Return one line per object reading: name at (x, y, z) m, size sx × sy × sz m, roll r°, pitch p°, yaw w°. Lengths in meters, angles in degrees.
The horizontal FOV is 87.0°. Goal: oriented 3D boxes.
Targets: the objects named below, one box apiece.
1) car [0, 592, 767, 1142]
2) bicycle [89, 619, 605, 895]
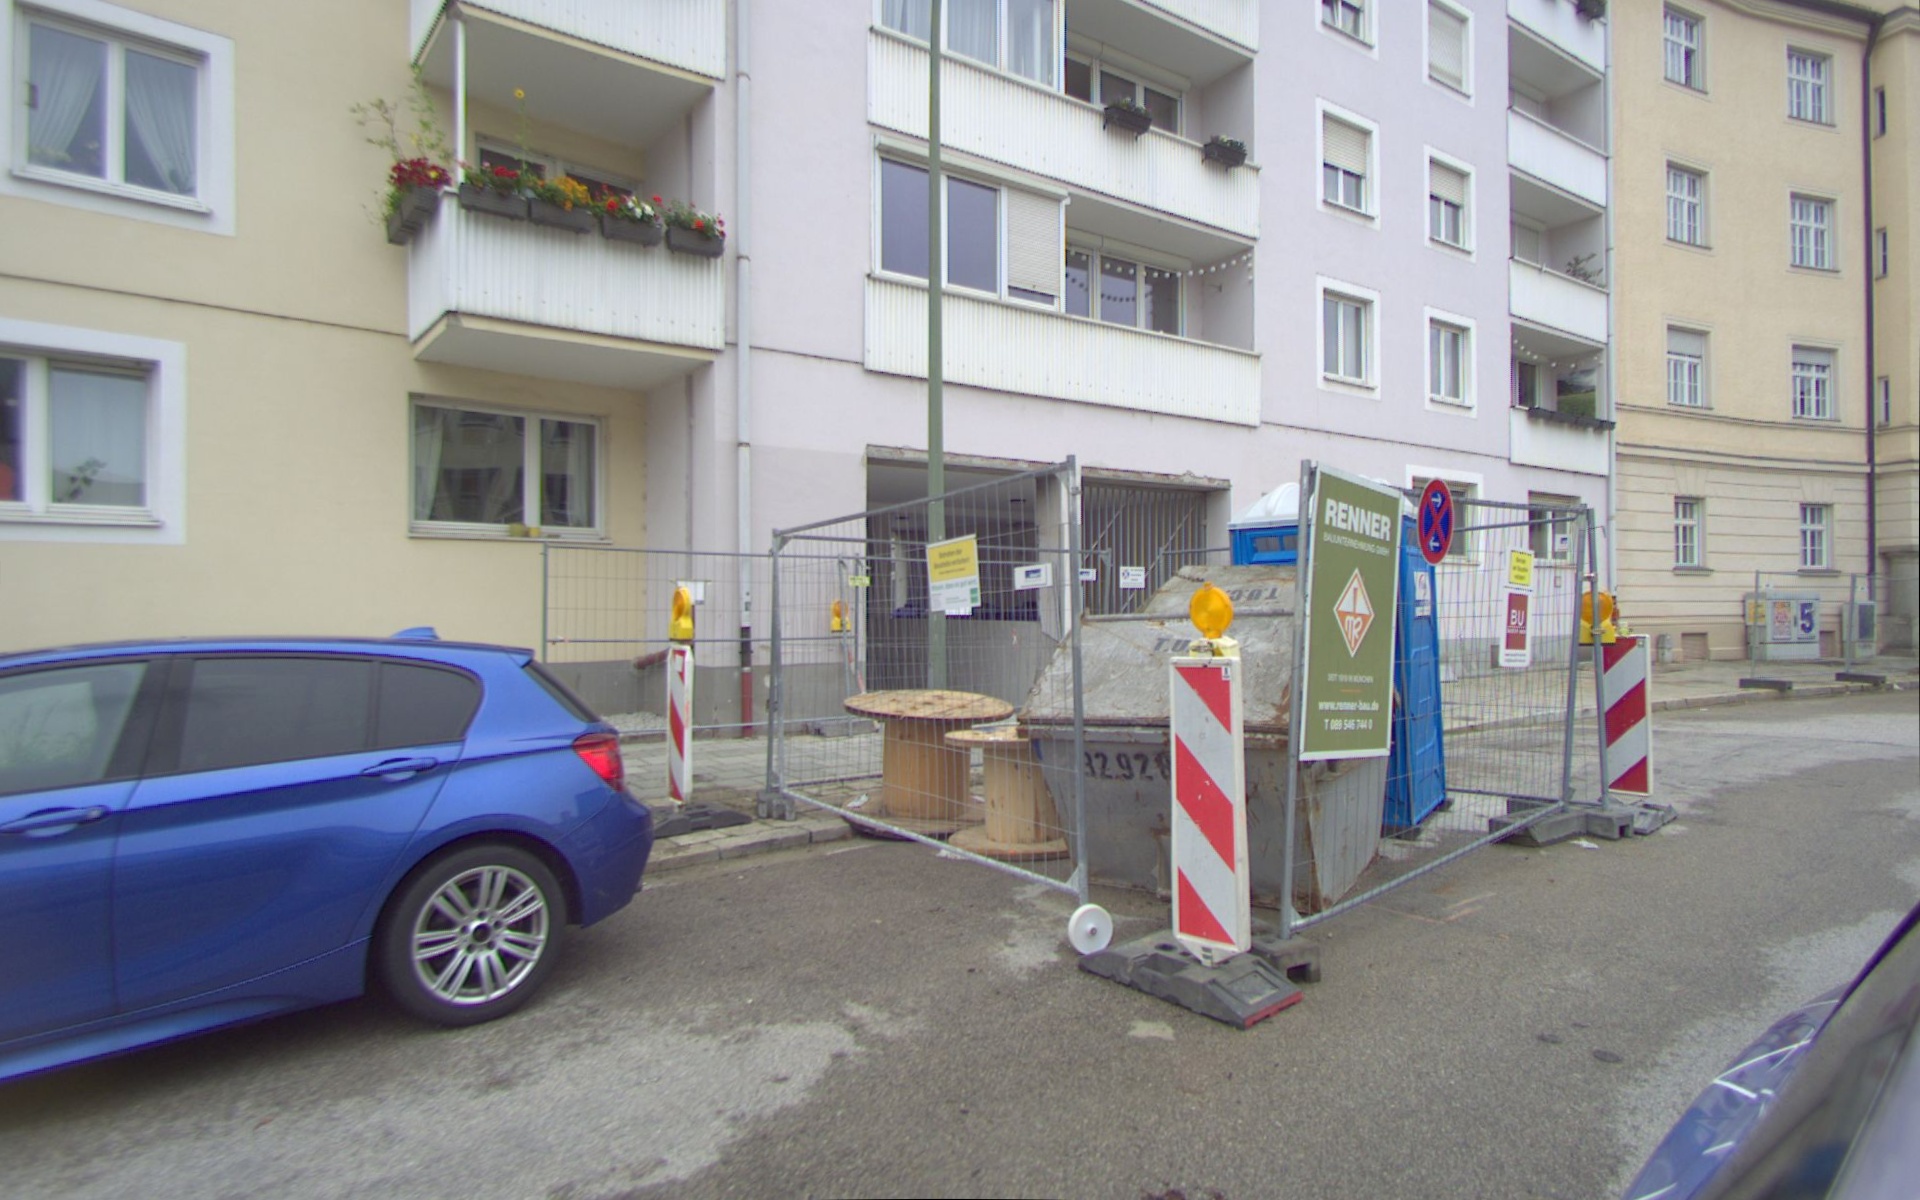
car at (-3.113, 0.741, 3.448) m, size 4.549 × 1.461 × 1.832 m, roll 0°, pitch -3°, yaw -42°
bicycle at (-3.761, 0.837, 6.488) m, size 2.729 × 1.339 × 0.810 m, roll -1°, pitch 1°, yaw -44°
